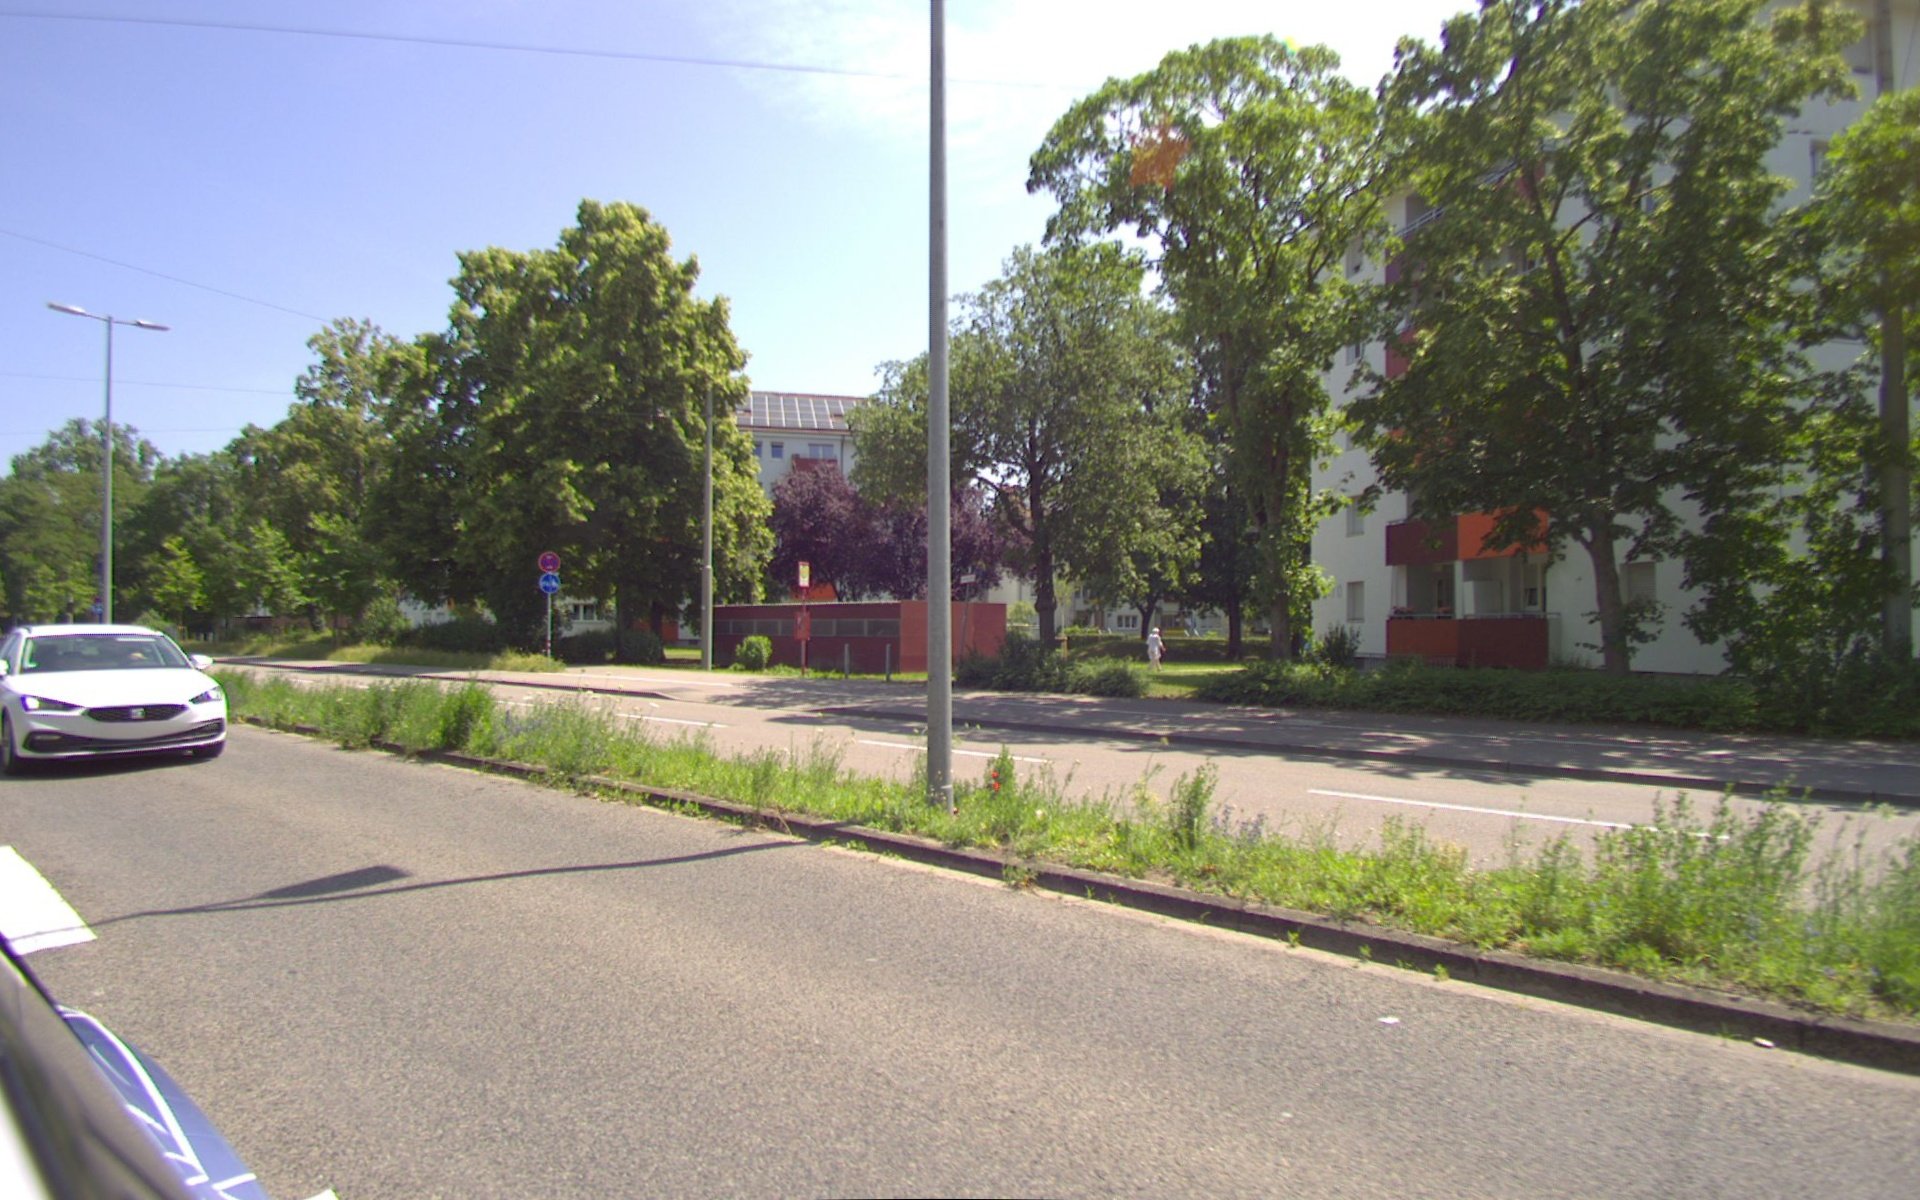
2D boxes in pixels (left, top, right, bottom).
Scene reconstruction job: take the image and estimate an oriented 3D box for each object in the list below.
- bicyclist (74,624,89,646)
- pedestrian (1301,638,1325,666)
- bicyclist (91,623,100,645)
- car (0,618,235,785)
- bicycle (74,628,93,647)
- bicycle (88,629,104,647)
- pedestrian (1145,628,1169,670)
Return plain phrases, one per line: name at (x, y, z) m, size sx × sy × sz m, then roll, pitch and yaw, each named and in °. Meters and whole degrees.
bicyclist at (-56.037, 2.227, 64.558) m, size 0.754 × 1.356 × 0.539 m, roll -2°, pitch -3°, yaw 37°
pedestrian at (15.373, 2.252, 44.068) m, size 0.397 × 1.184 × 0.900 m, roll 3°, pitch -3°, yaw -45°
bicyclist at (-55.523, 2.169, 65.002) m, size 0.440 × 1.402 × 0.354 m, roll -2°, pitch -1°, yaw 41°
car at (-9.598, 0.965, 11.122) m, size 4.109 × 1.479 × 1.749 m, roll -2°, pitch -1°, yaw 41°
bicycle at (-55.665, 2.375, 64.249) m, size 1.613 × 1.142 × 0.582 m, roll -2°, pitch -3°, yaw 39°
bicycle at (-55.391, 2.409, 64.907) m, size 1.378 × 1.103 × 0.548 m, roll -1°, pitch 0°, yaw 40°
pedestrian at (6.918, 1.725, 35.512) m, size 0.688 × 1.442 × 0.468 m, roll -2°, pitch -3°, yaw 42°
